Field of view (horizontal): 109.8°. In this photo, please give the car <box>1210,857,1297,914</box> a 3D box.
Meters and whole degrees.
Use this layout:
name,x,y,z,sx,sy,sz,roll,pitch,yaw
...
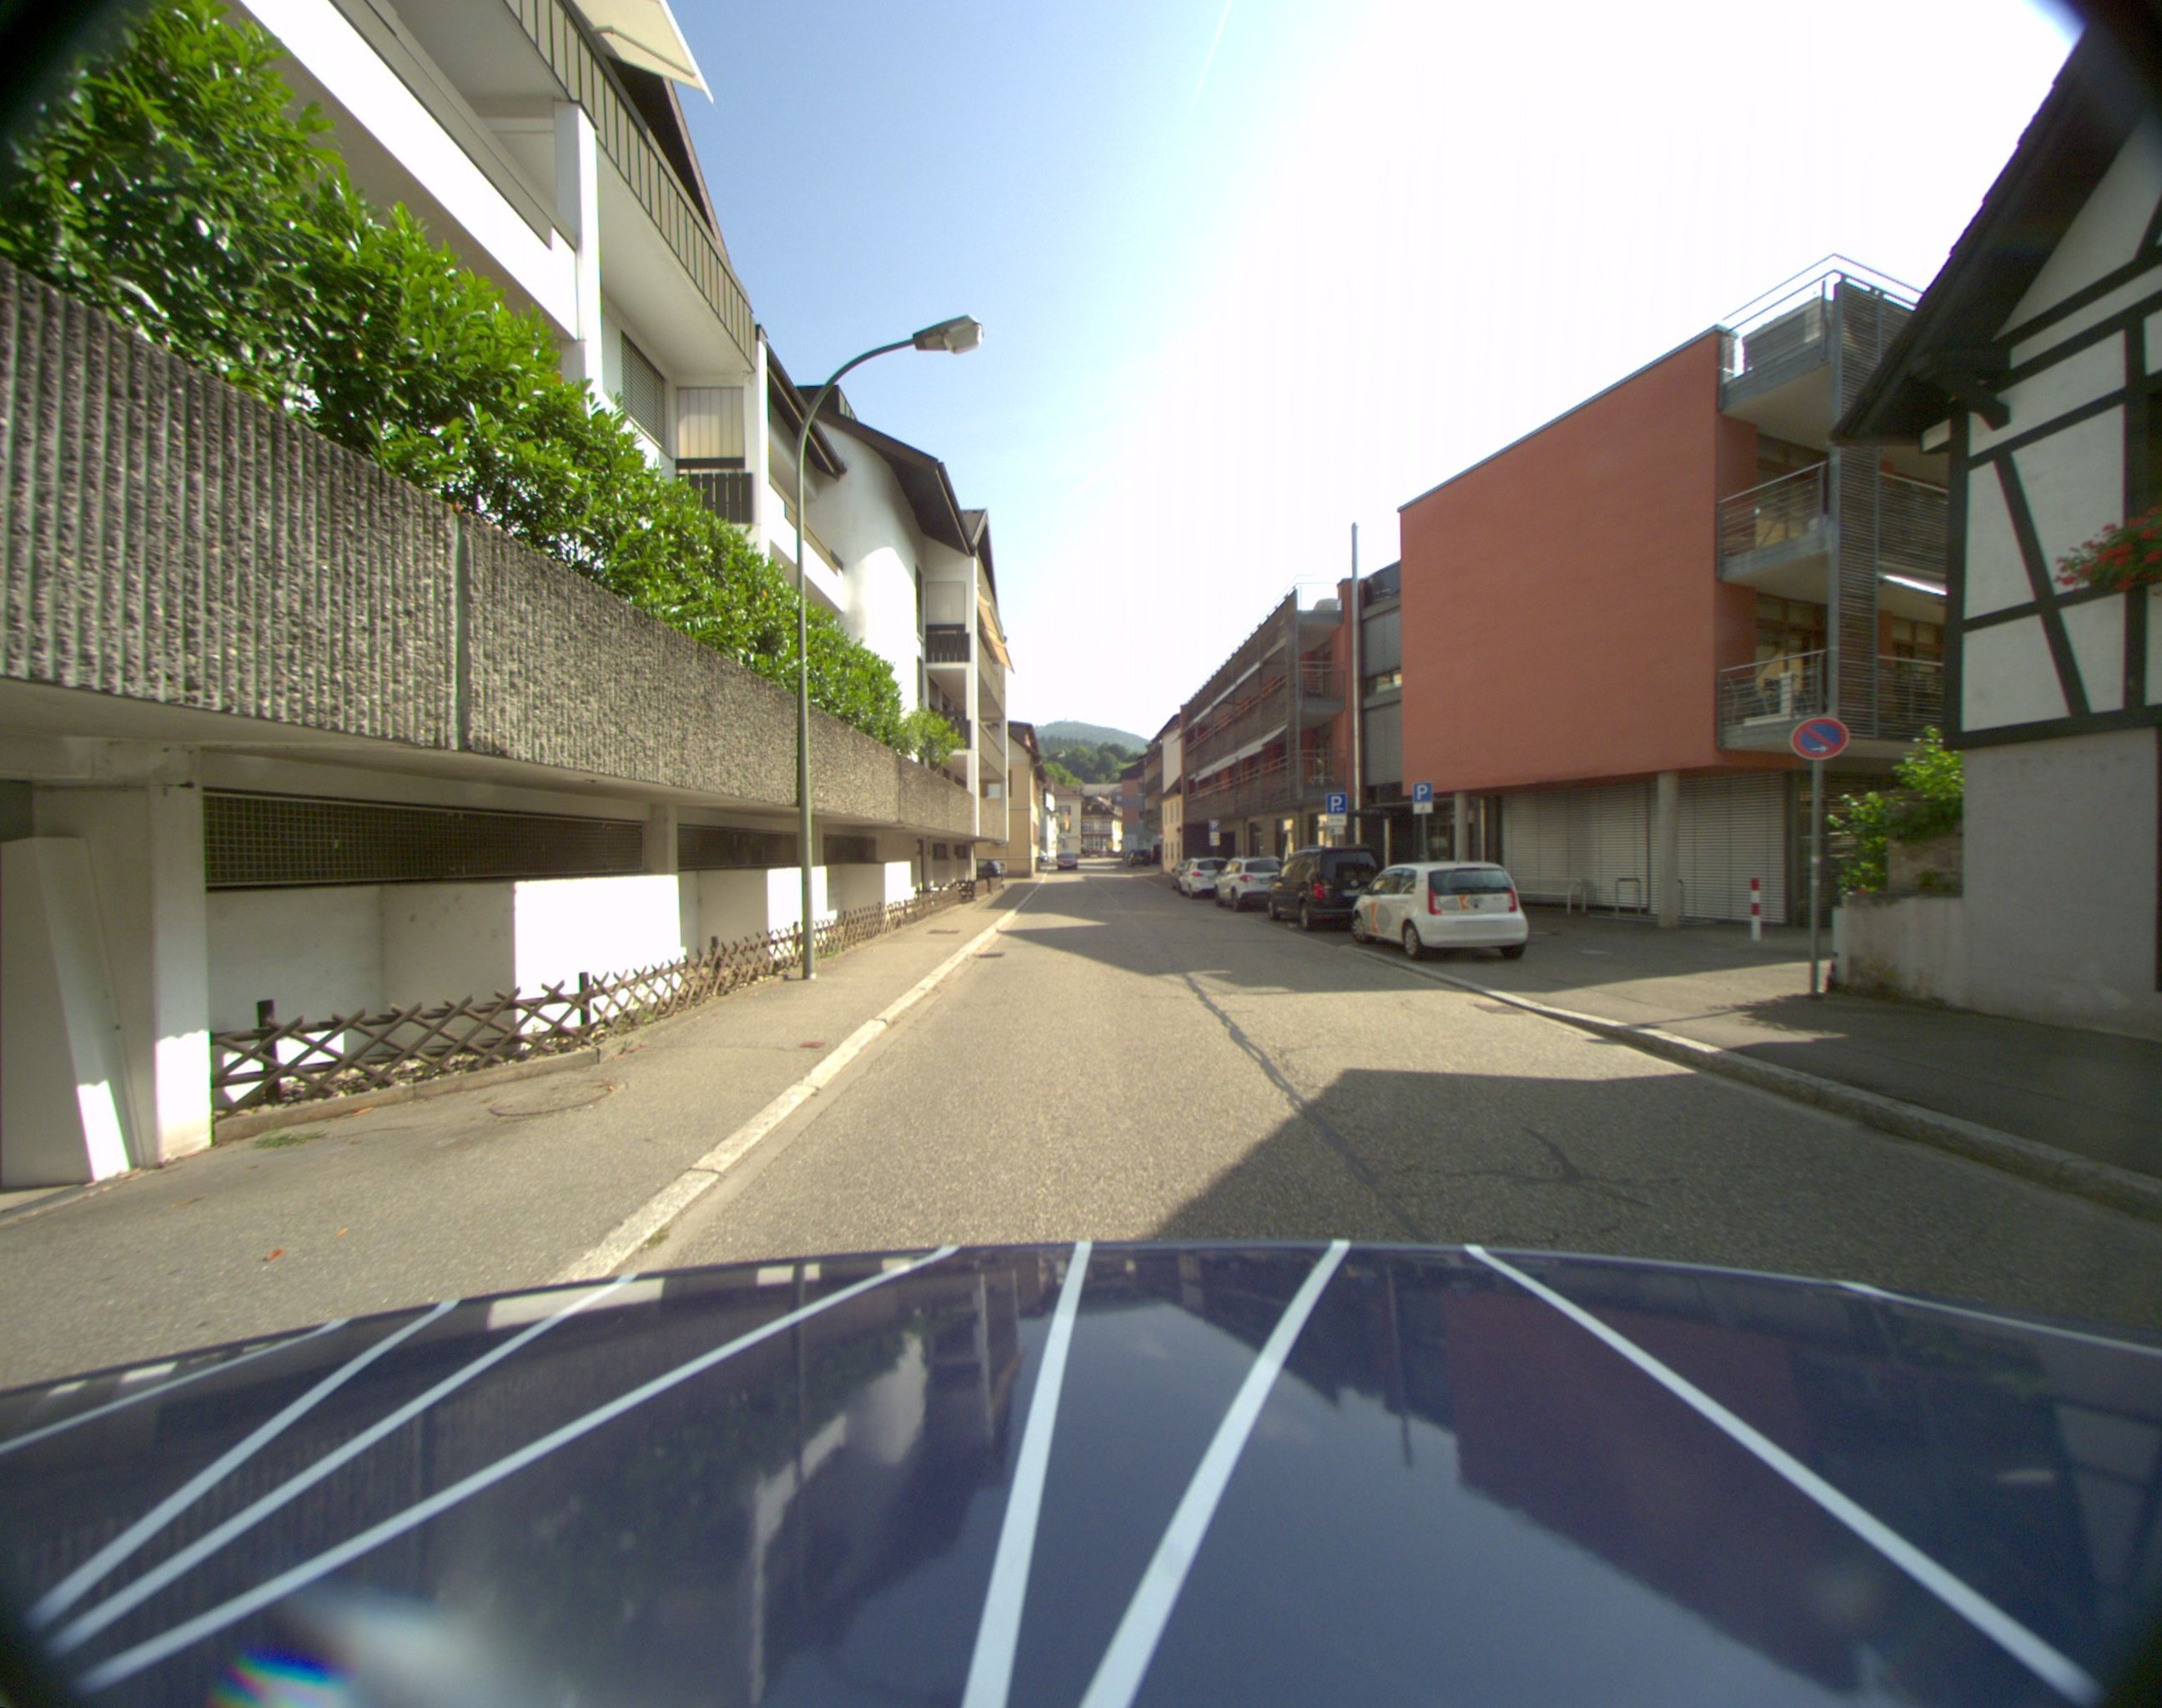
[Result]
name,x,y,z,sx,sy,sz,roll,pitch,yaw
car,5.242,0.913,23.559,1.679,1.580,3.948,-1,0,-1

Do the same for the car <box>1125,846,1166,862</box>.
name,x,y,z,sx,sy,sz,roll,pitch,yaw
car,6.827,0.007,80.311,4.000,1.673,1.834,0,-1,-9

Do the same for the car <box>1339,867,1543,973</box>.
name,x,y,z,sx,sy,sz,roll,pitch,yaw
car,5.696,0.962,12.540,1.670,1.423,3.569,-2,-1,1

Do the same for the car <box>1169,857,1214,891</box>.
name,x,y,z,sx,sy,sz,roll,pitch,yaw
car,5.100,0.905,35.499,1.553,1.408,3.593,-2,1,0

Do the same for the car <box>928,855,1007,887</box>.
name,x,y,z,sx,sy,sz,roll,pitch,yaw
car,-5.910,0.888,39.853,3.837,1.470,1.700,-2,0,-2

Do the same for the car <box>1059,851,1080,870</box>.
name,x,y,z,sx,sy,sz,roll,pitch,yaw
car,-1.039,0.582,67.749,1.822,1.652,3.999,0,0,-2

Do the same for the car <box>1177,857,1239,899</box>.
name,x,y,z,sx,sy,sz,roll,pitch,yaw
car,4.976,0.901,30.215,1.678,1.546,3.764,-1,0,-1

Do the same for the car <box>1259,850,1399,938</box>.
name,x,y,z,sx,sy,sz,roll,pitch,yaw
car,5.600,0.823,17.719,1.725,1.786,4.268,-1,0,-2

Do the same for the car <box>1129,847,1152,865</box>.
name,x,y,z,sx,sy,sz,roll,pitch,yaw
car,5.573,0.175,71.715,1.787,1.566,3.888,-3,0,-1
